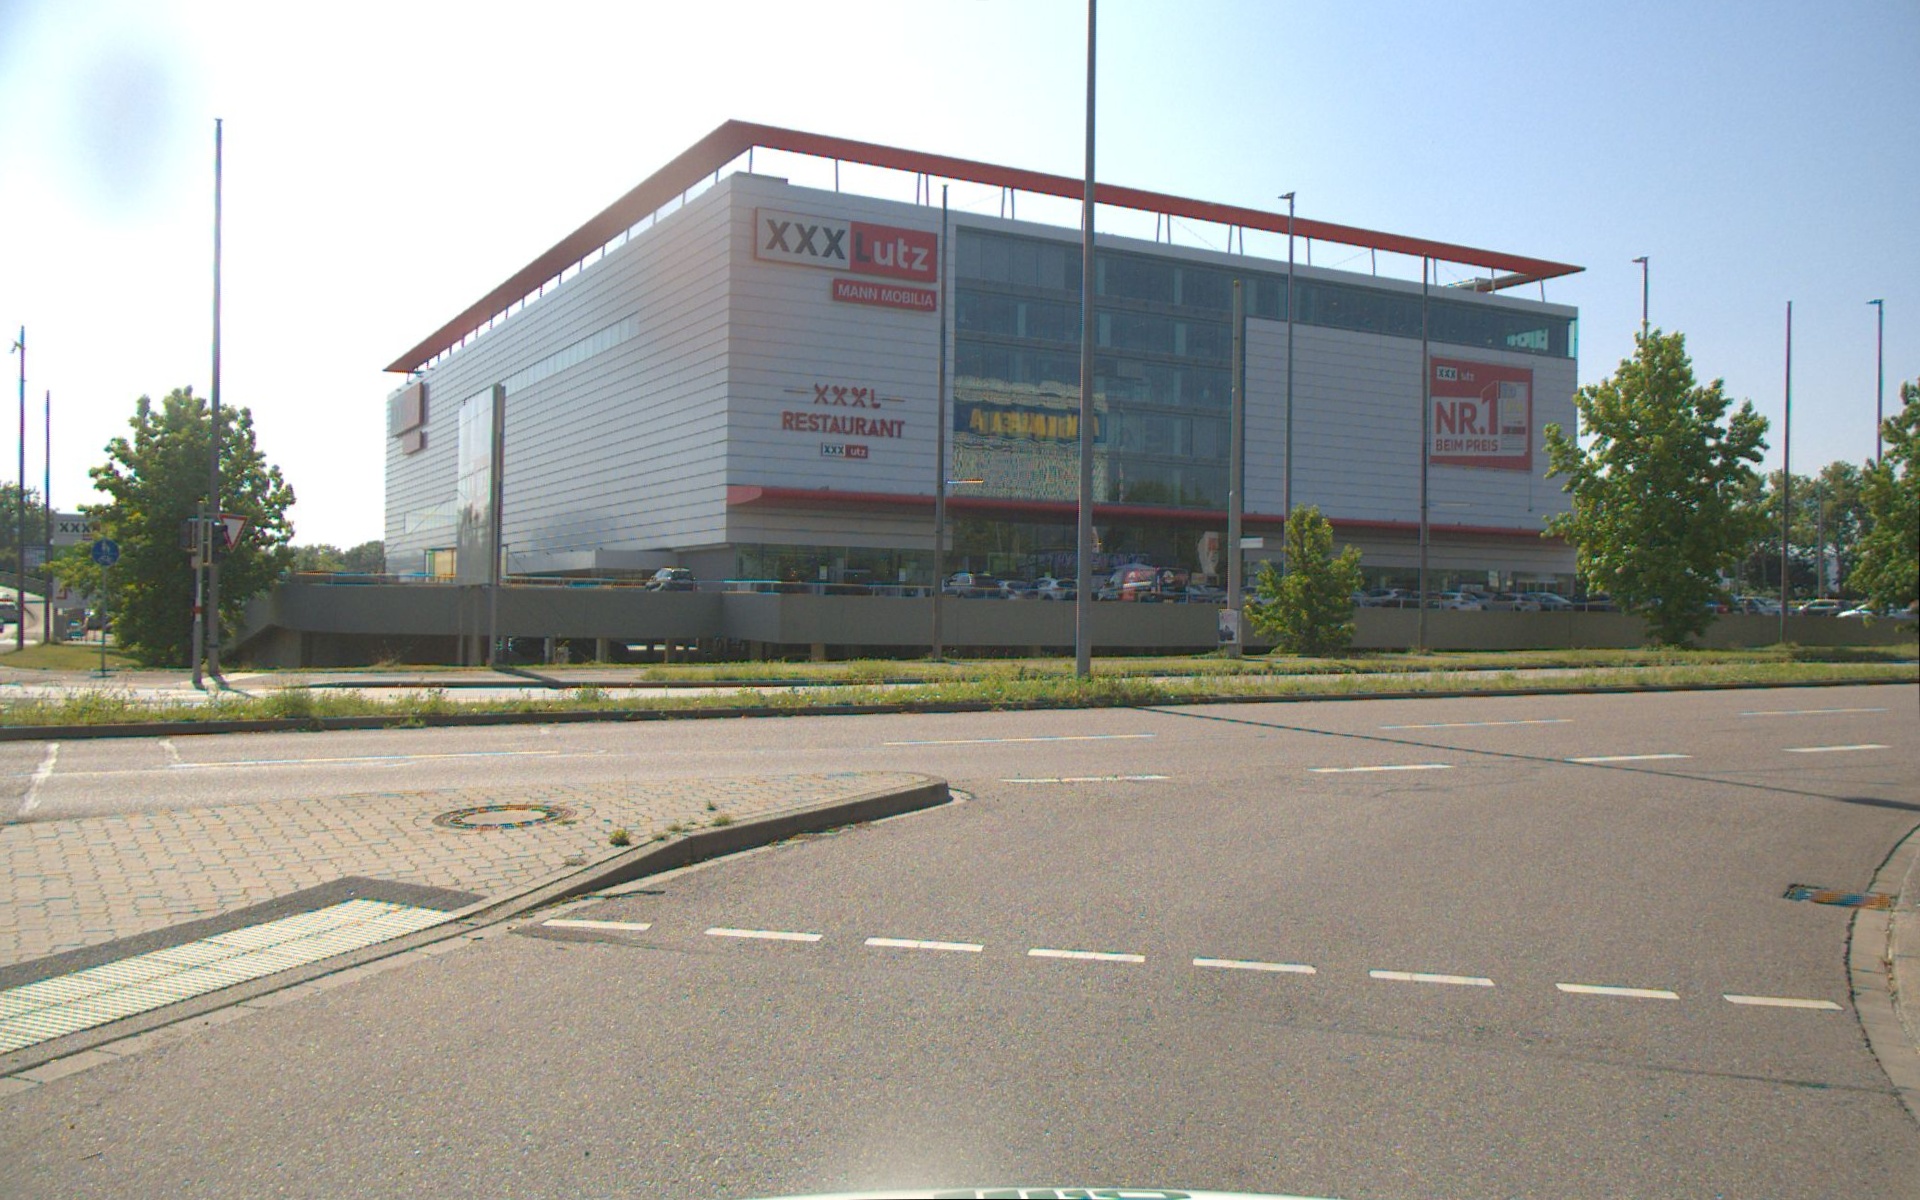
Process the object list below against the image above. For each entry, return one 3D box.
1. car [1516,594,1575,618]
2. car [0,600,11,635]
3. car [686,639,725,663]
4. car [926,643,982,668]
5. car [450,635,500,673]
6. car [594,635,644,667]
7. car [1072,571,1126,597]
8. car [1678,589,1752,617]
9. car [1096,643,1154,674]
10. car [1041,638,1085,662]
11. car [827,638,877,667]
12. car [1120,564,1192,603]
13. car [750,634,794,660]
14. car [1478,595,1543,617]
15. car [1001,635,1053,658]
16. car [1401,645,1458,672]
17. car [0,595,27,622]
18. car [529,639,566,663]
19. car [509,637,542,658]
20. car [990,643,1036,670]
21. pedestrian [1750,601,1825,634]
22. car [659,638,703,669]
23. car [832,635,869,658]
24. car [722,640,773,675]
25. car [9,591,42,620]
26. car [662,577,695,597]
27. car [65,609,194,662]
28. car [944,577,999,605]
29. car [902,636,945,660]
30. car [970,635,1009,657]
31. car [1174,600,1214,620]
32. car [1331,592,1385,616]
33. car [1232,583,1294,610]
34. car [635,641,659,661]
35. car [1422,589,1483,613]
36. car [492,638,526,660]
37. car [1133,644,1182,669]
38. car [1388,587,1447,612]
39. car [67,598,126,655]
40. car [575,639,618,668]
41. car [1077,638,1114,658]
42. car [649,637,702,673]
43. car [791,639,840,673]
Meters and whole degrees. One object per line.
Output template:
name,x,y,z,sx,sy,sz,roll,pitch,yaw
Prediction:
car,34.564,0.364,97.687,1.495,1.353,3.066,2,-1,-30
car,-57.816,1.028,99.047,1.562,2.049,3.961,0,0,-29
car,-11.499,2.295,74.781,1.057,0.992,1.922,2,-1,-32
car,-0.221,1.804,54.170,0.895,0.746,2.065,2,-1,-32
car,-13.624,1.503,46.423,0.878,0.992,1.922,1,0,-32
car,-11.365,1.680,55.092,1.057,0.992,1.923,0,0,-31
car,7.672,-0.887,91.481,1.495,1.353,3.066,2,-1,-30
car,29.760,0.124,65.226,1.057,1.078,2.494,2,-1,-32
car,5.733,2.026,57.648,1.057,0.992,1.922,2,-1,-32
car,4.675,2.267,75.072,1.057,0.992,1.922,2,-1,-32
car,-3.996,1.924,61.039,1.057,0.992,1.922,2,-1,-32
car,8.280,-0.690,69.924,1.750,1.584,2.747,0,0,-30
car,-7.734,1.937,68.041,1.057,0.992,1.922,2,-1,-32
car,32.111,0.357,96.533,1.460,1.220,3.474,2,-1,-30
car,2.013,1.404,49.942,0.847,0.631,1.547,2,-1,-32
car,18.323,2.281,64.614,1.057,0.992,1.922,2,-1,-32
car,-75.446,0.657,131.030,2.633,2.049,6.428,0,0,-29
car,-17.745,2.198,71.199,0.920,0.992,1.919,2,-1,-35
car,-21.512,2.343,81.864,1.057,0.992,1.922,2,-1,-32
car,2.057,2.217,64.738,0.898,0.992,1.922,2,-1,-32
pedestrian,54.423,1.132,108.851,3.904,2.049,2.000,1,-1,1
car,-9.491,1.814,56.189,0.874,0.992,1.925,2,-1,-29
car,-5.200,2.201,78.415,0.948,0.992,1.922,2,-1,-32
car,-6.503,1.758,50.565,0.855,0.992,1.828,2,-1,-32
car,-66.330,0.394,117.472,1.972,2.049,3.961,0,0,-29
car,-14.715,-0.683,86.514,1.057,0.992,1.922,2,-1,-32
car,-29.076,1.241,57.957,3.942,1.765,1.981,2,-1,-29
car,0.574,-0.455,84.077,1.495,1.353,2.990,2,-1,-30
car,-1.584,2.073,71.587,1.057,0.992,1.922,2,-1,-32
car,1.446,2.253,80.864,1.057,0.992,1.922,2,-1,-32
car,11.878,0.487,83.931,1.057,0.992,1.922,0,0,-32
car,23.425,0.230,97.462,1.283,1.353,3.113,2,-1,-30
car,15.864,-0.166,86.831,1.495,1.353,3.192,2,-1,-30
car,-15.457,2.518,81.645,0.746,0.944,1.276,2,-1,-32
car,28.073,0.060,94.352,1.681,1.353,3.066,2,-1,-30
car,-21.434,2.313,78.538,1.057,0.992,1.922,2,-1,-32
car,8.121,2.321,68.054,1.057,0.992,1.922,2,-1,-32
car,25.785,-0.006,93.278,1.495,1.353,3.066,2,-1,-30
car,-36.378,1.090,69.747,1.968,2.336,4.000,2,-1,-25
car,-14.180,2.074,64.505,1.057,1.058,1.922,0,0,-32
car,6.984,2.471,85.391,0.910,0.992,1.922,2,-1,-32
car,-8.535,1.626,49.493,1.055,1.026,1.926,0,0,-27
car,-4.057,1.555,46.411,0.782,0.898,1.489,2,-1,-32
